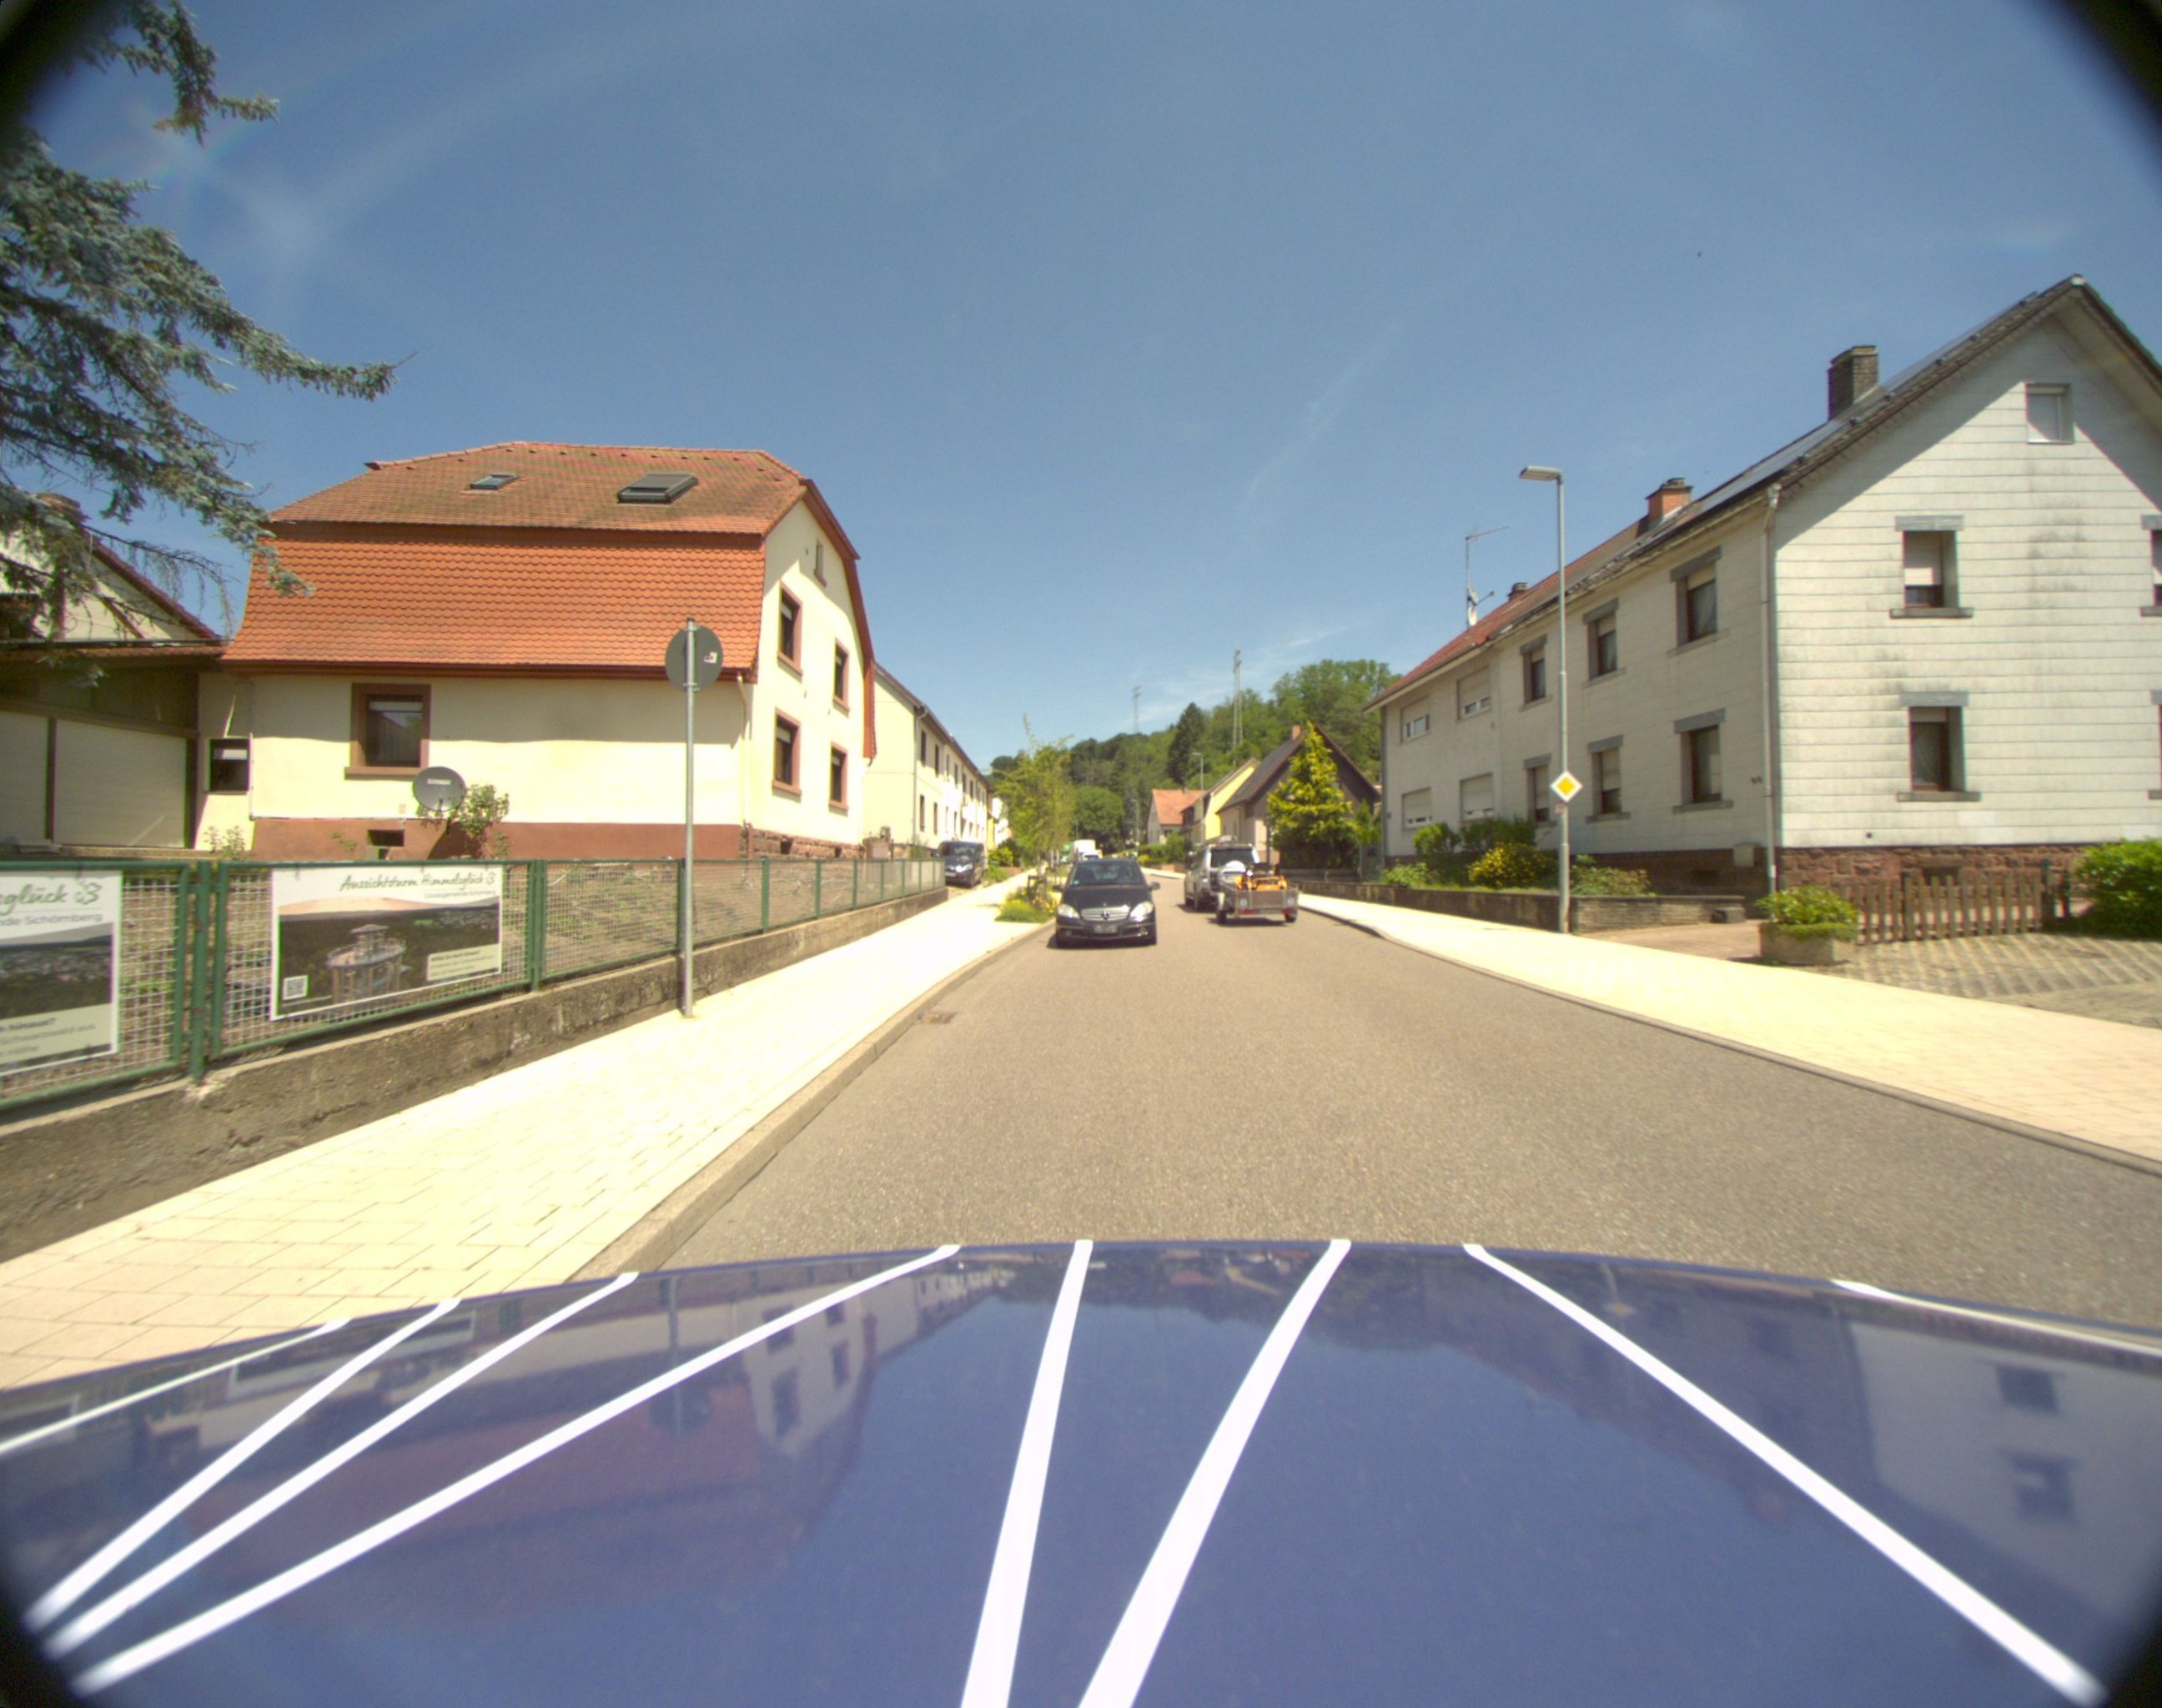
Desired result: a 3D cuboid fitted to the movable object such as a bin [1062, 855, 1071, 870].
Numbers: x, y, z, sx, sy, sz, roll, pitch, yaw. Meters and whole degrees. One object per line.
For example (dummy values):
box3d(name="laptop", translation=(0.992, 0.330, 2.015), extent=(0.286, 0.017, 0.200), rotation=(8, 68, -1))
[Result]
box3d(name="movable object such as a bin", translation=(-1.382, 0.805, 71.390), extent=(0.794, 1.387, 0.925), rotation=(-1, 1, -3))

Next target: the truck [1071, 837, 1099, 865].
box3d(name="truck", translation=(0.458, -0.344, 98.712), extent=(2.807, 3.394, 8.115), rotation=(2, 0, -5))

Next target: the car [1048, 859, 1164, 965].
box3d(name="car", translation=(0.433, 0.939, 14.058), extent=(1.790, 1.595, 4.075), rotation=(-2, 0, 1))

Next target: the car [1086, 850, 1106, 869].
box3d(name="car", translation=(1.499, 0.578, 76.275), extent=(1.968, 1.823, 4.464), rotation=(1, 0, 0))

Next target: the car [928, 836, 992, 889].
box3d(name="car", translation=(-5.133, 0.350, 32.877), extent=(1.857, 1.959, 4.773), rotation=(6, 0, 0))

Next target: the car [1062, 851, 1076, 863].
box3d(name="car", translation=(-1.847, 0.479, 116.537), extent=(1.998, 1.805, 4.000), rotation=(-1, 0, 1))

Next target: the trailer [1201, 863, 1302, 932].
box3d(name="trailer", translation=(3.937, 0.954, 18.203), extent=(1.578, 1.387, 4.403), rotation=(-1, 0, 2))

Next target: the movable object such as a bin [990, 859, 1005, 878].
box3d(name="movable object such as a bin", translation=(-5.196, 0.901, 47.383), extent=(0.685, 1.109, 0.812), rotation=(3, 1, 5))

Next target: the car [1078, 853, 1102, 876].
box3d(name="car", translation=(0.662, 0.766, 56.435), extent=(1.714, 1.595, 3.879), rotation=(-1, 0, 0))

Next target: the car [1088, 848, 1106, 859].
box3d(name="car", translation=(2.797, -0.146, 134.093), extent=(1.706, 1.937, 3.993), rotation=(-2, 1, -19))

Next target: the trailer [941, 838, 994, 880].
box3d(name="trailer", translation=(-5.676, 0.235, 38.070), extent=(1.320, 2.002, 2.278), rotation=(-1, 1, 42))

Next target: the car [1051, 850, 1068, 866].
box3d(name="car", translation=(-2.667, 0.418, 92.468), extent=(1.860, 1.832, 4.668), rotation=(1, 0, -4))

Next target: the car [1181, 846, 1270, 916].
box3d(name="car", translation=(4.113, 0.722, 22.373), extent=(1.894, 1.850, 4.578), rotation=(0, 0, 2))
